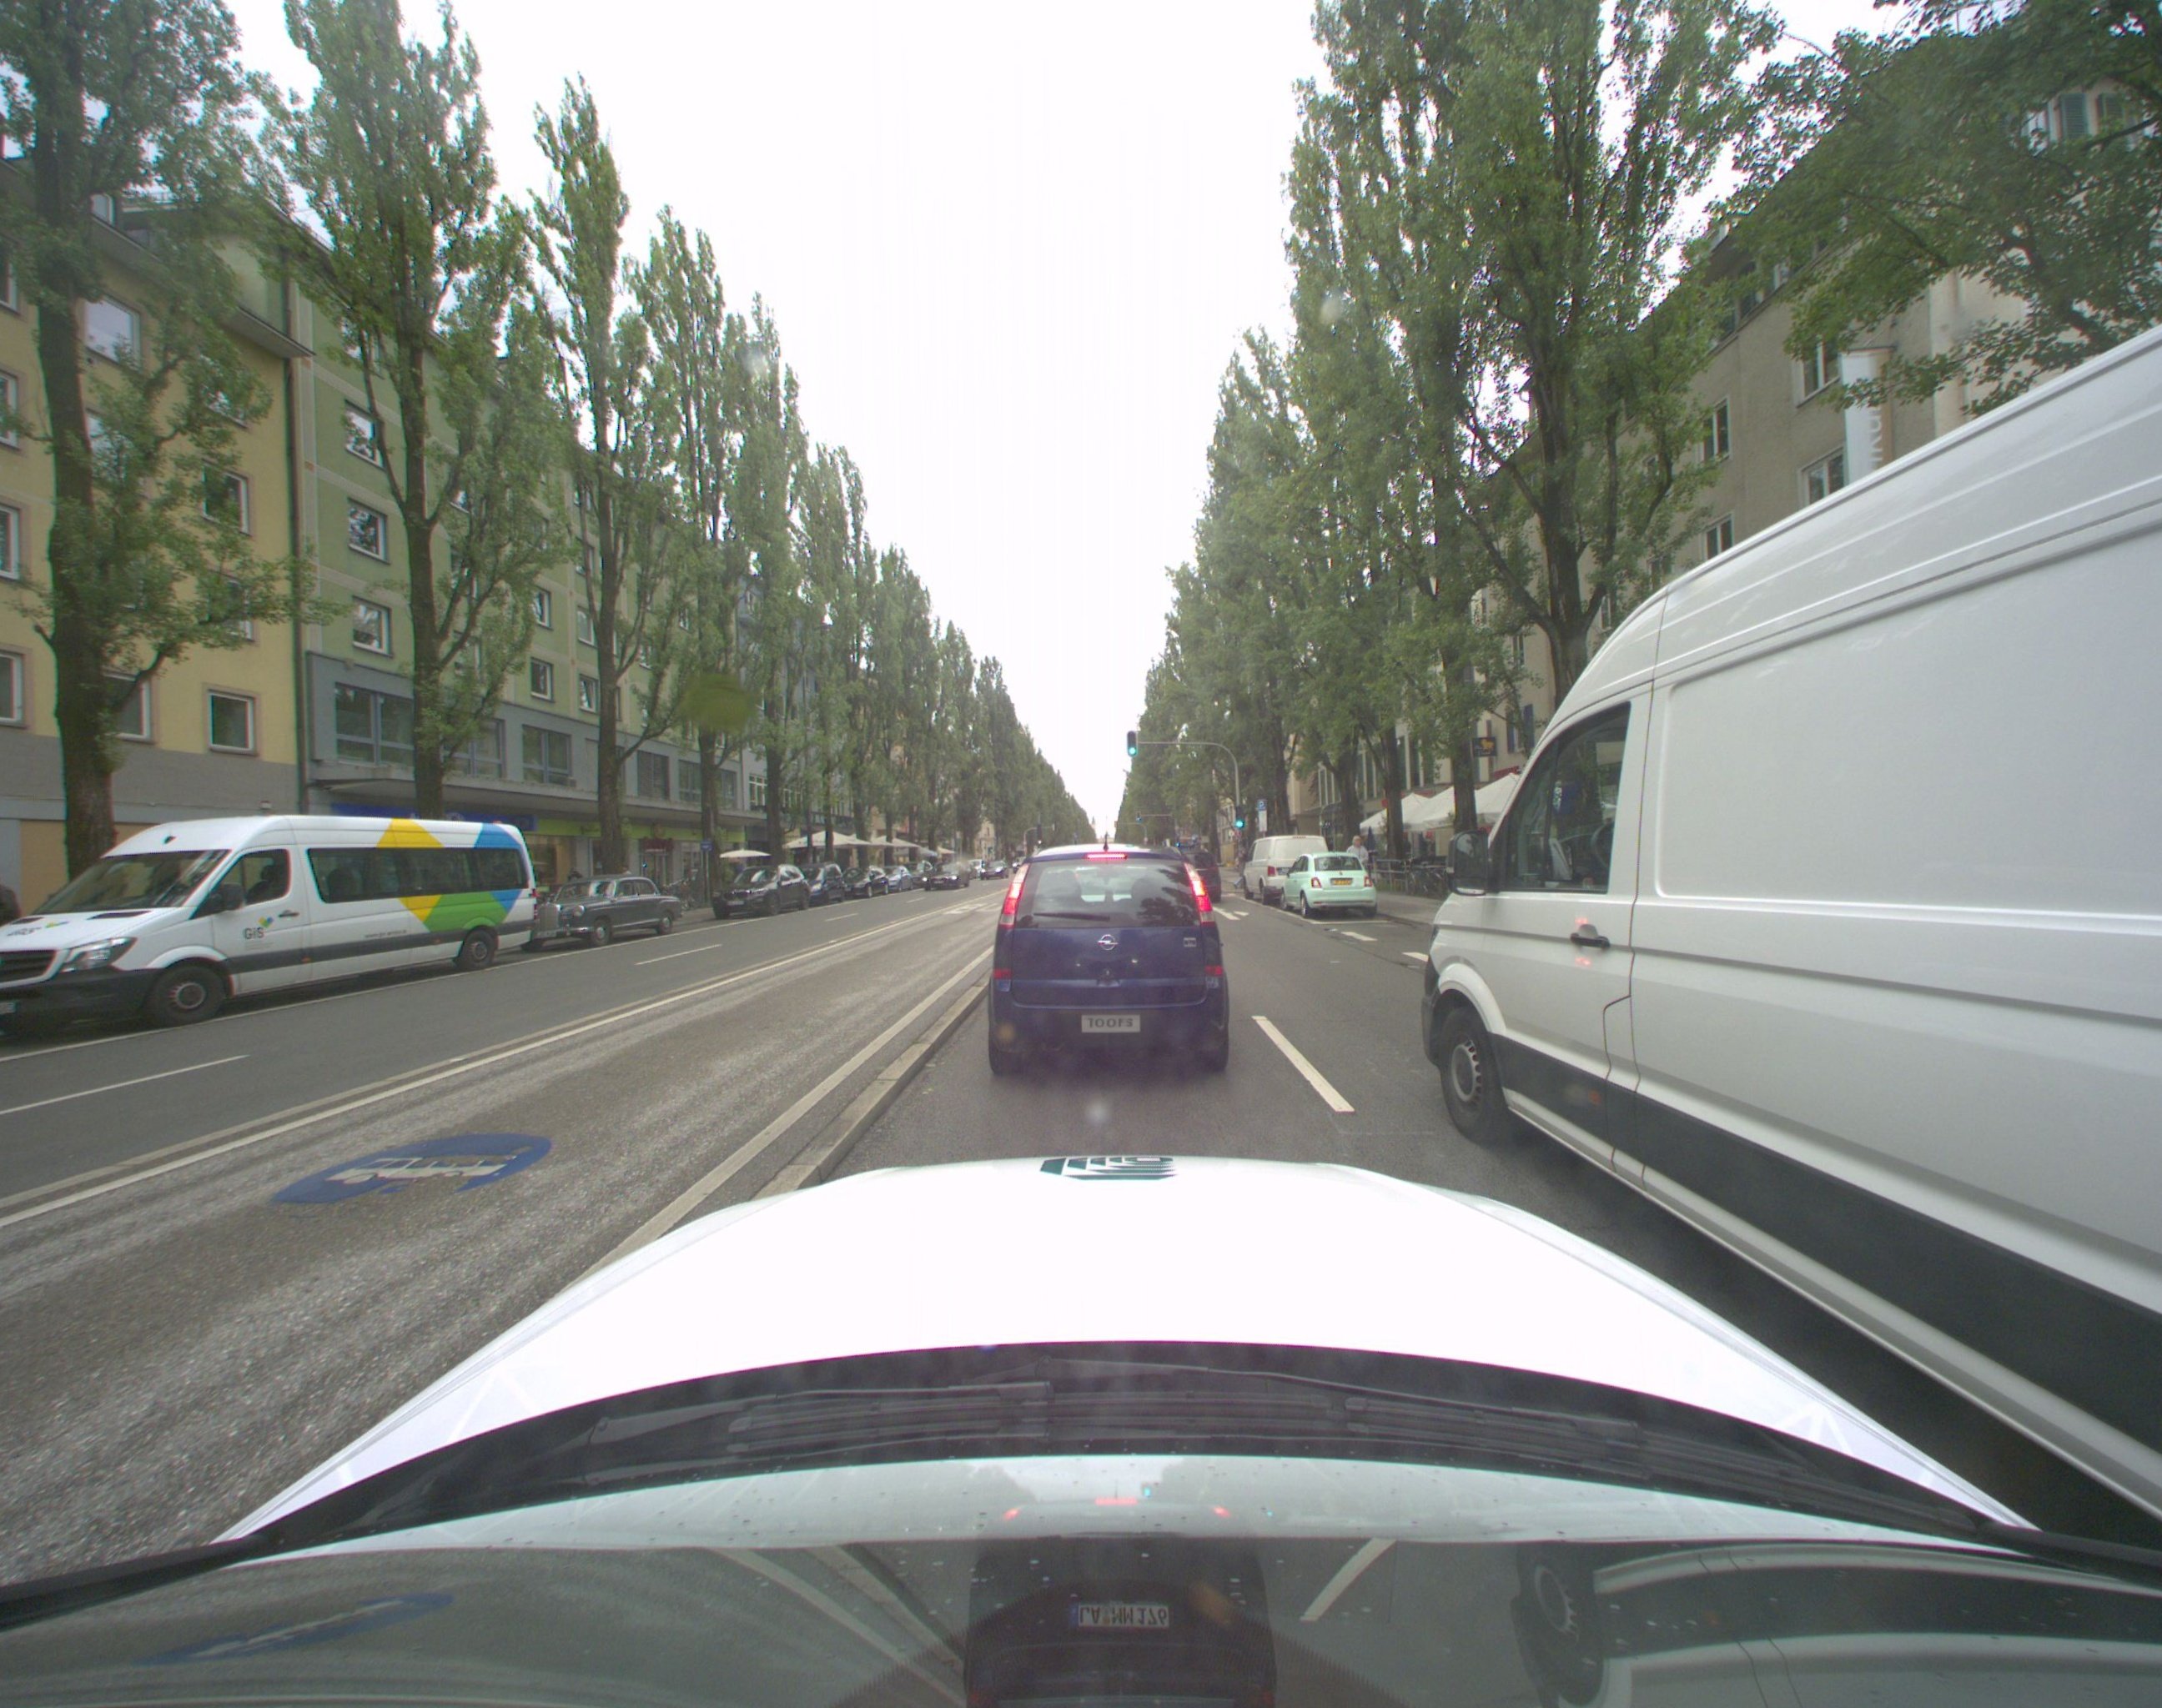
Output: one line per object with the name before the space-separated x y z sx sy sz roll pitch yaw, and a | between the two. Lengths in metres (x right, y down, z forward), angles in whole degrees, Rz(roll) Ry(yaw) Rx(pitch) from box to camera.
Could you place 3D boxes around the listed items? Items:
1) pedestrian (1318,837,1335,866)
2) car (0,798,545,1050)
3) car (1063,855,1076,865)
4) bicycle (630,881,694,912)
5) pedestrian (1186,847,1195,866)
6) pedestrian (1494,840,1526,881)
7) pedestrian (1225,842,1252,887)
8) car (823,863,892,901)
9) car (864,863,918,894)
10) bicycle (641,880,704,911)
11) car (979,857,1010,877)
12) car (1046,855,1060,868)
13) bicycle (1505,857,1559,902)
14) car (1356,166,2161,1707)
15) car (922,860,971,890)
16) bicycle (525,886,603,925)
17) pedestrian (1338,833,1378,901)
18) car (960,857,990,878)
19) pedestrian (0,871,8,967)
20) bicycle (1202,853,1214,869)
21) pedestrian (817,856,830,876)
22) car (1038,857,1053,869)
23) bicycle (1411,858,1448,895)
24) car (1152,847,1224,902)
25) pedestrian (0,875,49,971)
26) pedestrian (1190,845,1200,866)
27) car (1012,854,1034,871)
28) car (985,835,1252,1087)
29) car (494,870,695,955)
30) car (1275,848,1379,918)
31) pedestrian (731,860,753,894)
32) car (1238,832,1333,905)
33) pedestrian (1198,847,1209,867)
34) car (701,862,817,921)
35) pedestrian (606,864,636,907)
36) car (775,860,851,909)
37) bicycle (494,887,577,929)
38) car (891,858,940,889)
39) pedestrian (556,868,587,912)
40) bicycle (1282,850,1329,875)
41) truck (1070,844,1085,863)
pedestrian | 14.767 -0.126 48.972 0.671 1.686 0.758 -3 -1 -3
car | -11.308 0.756 11.934 1.998 2.567 6.915 -4 0 2
car | -1.786 0.858 125.263 1.728 1.465 3.366 -2 0 2
bicycle | -15.174 1.533 29.522 1.943 1.095 0.718 0 0 -5
pedestrian | 10.303 0.242 76.831 0.636 1.827 0.885 0 -1 -8
pedestrian | 14.356 0.218 27.259 0.636 1.324 0.800 -2 0 1
pedestrian | 6.098 0.399 31.525 0.857 1.684 0.626 -2 0 -2
car | -10.372 1.268 38.095 1.792 1.488 4.352 -4 0 2
car | -10.125 1.298 43.645 1.727 1.425 4.145 -4 0 2
bicycle | -15.209 1.544 30.354 1.943 1.095 0.718 0 0 -5
car | -6.688 0.988 63.414 1.739 1.434 4.131 -4 0 2
car | -4.600 1.163 132.527 1.986 2.013 4.001 -2 0 1
bicycle | 10.435 0.577 18.883 0.348 0.996 1.453 -3 -1 -2
car | 2.705 0.188 1.875 2.055 2.492 6.733 -1 0 2
car | -7.387 1.129 45.143 1.691 1.462 4.714 -4 0 2
bicycle | -15.266 1.503 24.051 1.860 1.095 0.720 0 0 4
pedestrian | 7.446 0.348 21.925 0.823 1.773 0.872 -2 0 7
car | -9.267 1.143 71.383 1.859 1.665 4.122 -4 0 2
pedestrian | -20.669 1.234 15.046 0.694 1.795 0.728 -3 0 6
bicycle | 11.690 0.642 75.150 0.769 1.349 2.450 -2 0 1
pedestrian | -18.617 0.840 58.873 0.763 1.410 0.799 0 -1 -3
car | -5.258 1.299 121.280 1.859 1.665 4.122 -2 0 2
bicycle | 9.847 0.627 23.046 0.348 0.996 1.453 -3 -1 -2
car | 3.378 0.608 26.388 1.889 1.622 4.002 -1 0 2
pedestrian | -19.845 1.271 15.003 0.694 1.700 0.728 -3 0 6
pedestrian | 10.177 0.162 72.589 0.636 1.827 0.885 0 -1 -8
car | -5.910 0.857 83.683 1.764 1.635 4.456 -3 0 1
car | 0.308 0.676 7.169 1.665 1.568 4.002 -1 0 2
car | -11.149 1.257 19.097 1.859 1.552 4.416 -4 0 2
car | 5.788 0.629 19.517 1.535 1.492 3.525 -1 0 2
pedestrian | -17.295 1.156 41.501 0.753 1.686 0.675 -3 -1 2
car | 6.047 0.382 24.643 1.781 1.946 4.732 -2 0 2
pedestrian | 10.925 0.268 72.743 0.719 1.827 0.885 0 -1 -8
car | -10.669 1.181 27.400 1.859 1.664 4.613 -4 0 2
pedestrian | -18.968 1.292 33.593 0.753 1.686 0.675 -3 -1 2
car | -10.708 1.166 32.831 1.704 1.721 3.920 -4 0 -1
bicycle | -15.274 1.507 22.833 1.860 1.095 0.720 0 0 4
car | -9.967 1.141 49.297 1.859 1.665 4.402 -4 0 2
pedestrian | -20.264 1.423 32.379 0.670 1.686 0.759 -3 -1 3
bicycle | 11.692 0.456 42.447 2.220 1.204 0.626 -3 0 -1
truck | -0.613 -0.124 154.957 2.374 3.346 7.113 -2 0 2
